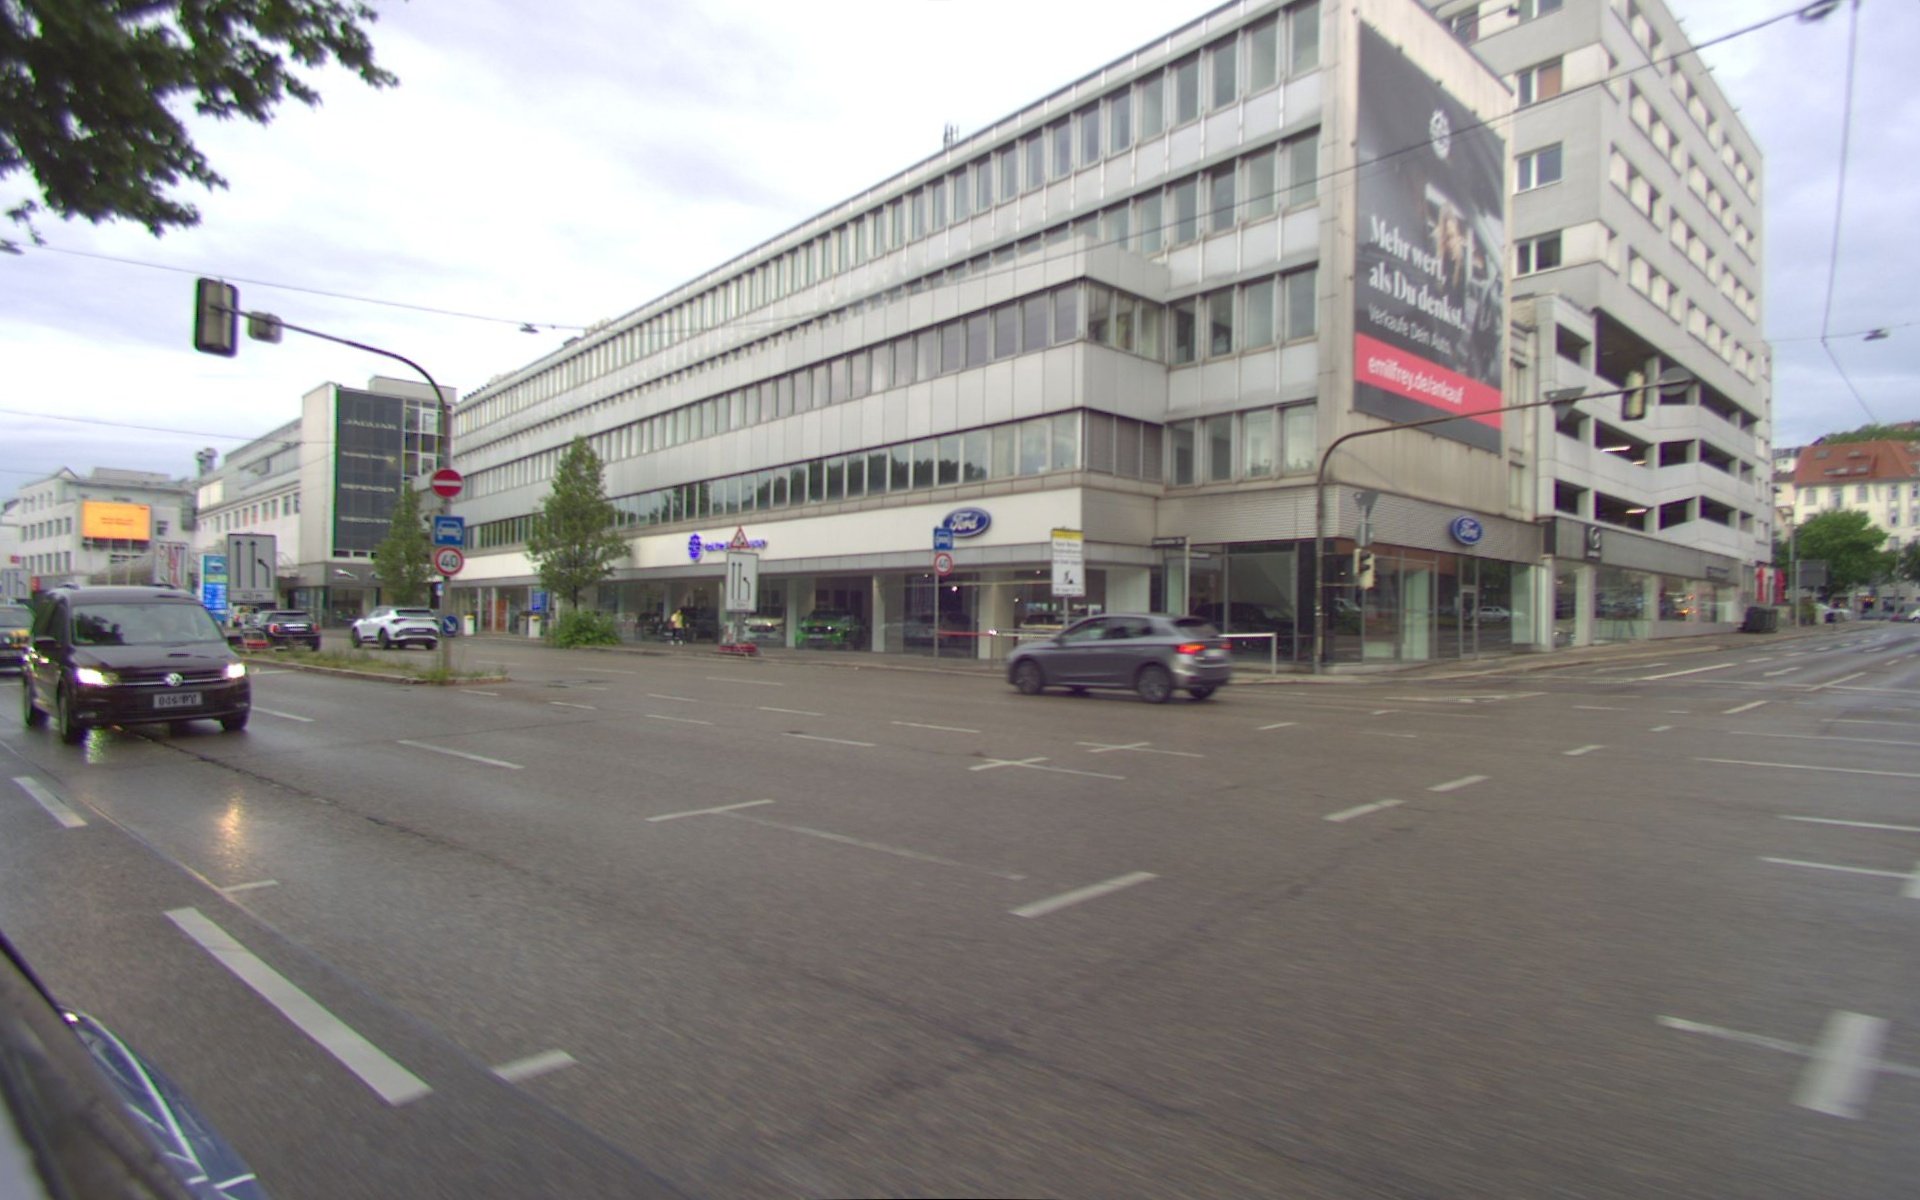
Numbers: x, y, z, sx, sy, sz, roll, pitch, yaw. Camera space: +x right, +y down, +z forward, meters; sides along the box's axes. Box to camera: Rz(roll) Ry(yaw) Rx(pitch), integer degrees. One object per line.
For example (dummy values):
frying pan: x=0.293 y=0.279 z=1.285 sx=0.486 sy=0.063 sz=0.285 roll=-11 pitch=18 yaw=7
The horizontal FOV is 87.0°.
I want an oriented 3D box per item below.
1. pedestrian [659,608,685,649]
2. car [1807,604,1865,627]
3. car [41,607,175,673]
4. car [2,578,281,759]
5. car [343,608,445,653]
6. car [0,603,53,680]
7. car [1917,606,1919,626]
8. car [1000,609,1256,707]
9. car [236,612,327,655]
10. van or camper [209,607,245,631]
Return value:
pedestrian: x=-12.744 y=1.245 z=44.786 sx=0.751 sy=1.788 sz=0.864 roll=-3 pitch=1 yaw=-43
car: x=75.365 y=1.353 z=87.151 sx=3.725 sy=1.874 sz=1.818 roll=-1 pitch=-1 yaw=41
car: x=-23.449 y=1.058 z=27.815 sx=4.324 sy=1.611 sz=1.794 roll=-1 pitch=1 yaw=36
car: x=-10.240 y=0.703 z=12.537 sx=4.428 sy=1.828 sz=1.881 roll=-1 pitch=2 yaw=41
car: x=-21.430 y=1.109 z=38.263 sx=4.451 sy=1.622 sz=1.871 roll=0 pitch=-1 yaw=39
car: x=-22.022 y=0.906 z=22.808 sx=4.331 sy=1.611 sz=1.791 roll=-1 pitch=2 yaw=41
car: x=101.422 y=1.662 z=104.282 sx=1.922 sy=1.948 sz=3.948 roll=-3 pitch=2 yaw=-44
car: x=2.772 y=0.901 z=17.237 sx=4.039 sy=1.476 sz=1.691 roll=0 pitch=-1 yaw=41
car: x=-24.139 y=1.157 z=35.949 sx=3.859 sy=1.447 sz=1.666 roll=0 pitch=-1 yaw=40
van or camper: x=-63.498 y=1.624 z=87.672 sx=1.902 sy=1.944 sz=4.258 roll=-3 pitch=2 yaw=-44
